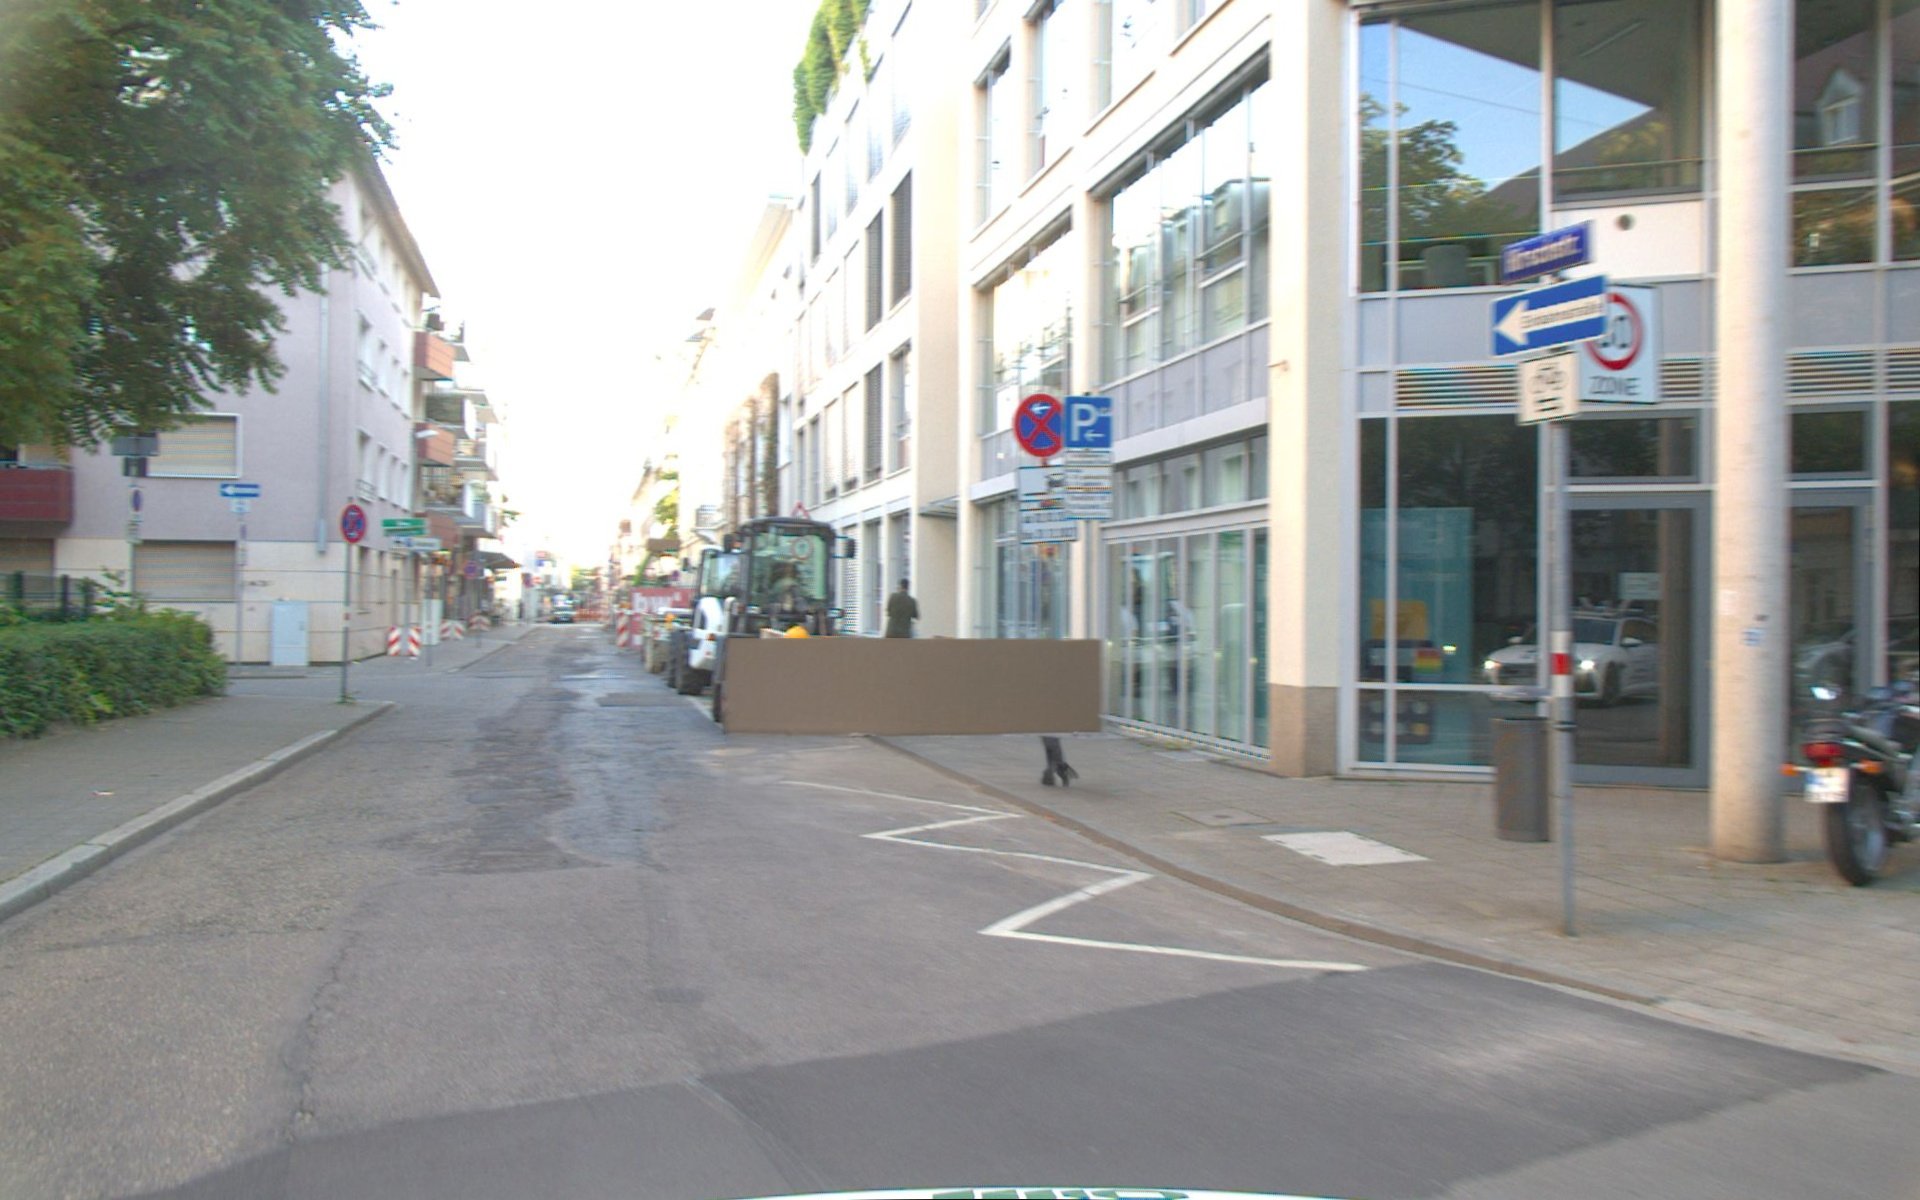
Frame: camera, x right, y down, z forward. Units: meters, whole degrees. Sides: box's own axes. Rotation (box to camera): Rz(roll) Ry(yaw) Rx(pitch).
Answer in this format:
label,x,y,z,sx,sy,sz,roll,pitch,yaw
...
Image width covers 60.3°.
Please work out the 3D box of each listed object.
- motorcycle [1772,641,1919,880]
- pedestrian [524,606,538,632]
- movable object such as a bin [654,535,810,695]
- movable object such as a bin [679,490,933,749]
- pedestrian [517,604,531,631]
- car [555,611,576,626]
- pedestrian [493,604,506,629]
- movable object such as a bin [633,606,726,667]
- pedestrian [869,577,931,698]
label,x,y,z,sx,sy,sz,roll,pitch,yaw
motorcycle,5.439,0.865,9.695,0.548,1.192,2.292,-1,0,44
pedestrian,-27.914,1.233,107.615,0.783,1.622,0.742,0,-1,-11
movable object such as a bin,-4.076,0.236,29.024,2.239,2.585,4.081,0,0,-15
movable object such as a bin,-2.092,0.201,20.498,2.239,2.739,5.626,0,0,-15
pedestrian,-27.411,1.070,104.019,0.783,1.690,0.742,0,0,-11
car,-31.860,1.501,133.658,1.512,1.154,3.107,0,0,-17
pedestrian,-27.175,0.967,97.581,0.651,1.463,0.533,0,0,-1
movable object such as a bin,-7.187,0.897,42.105,2.012,1.436,3.958,0,0,-15
pedestrian,-0.962,0.589,26.291,0.871,1.883,0.874,0,0,-11
